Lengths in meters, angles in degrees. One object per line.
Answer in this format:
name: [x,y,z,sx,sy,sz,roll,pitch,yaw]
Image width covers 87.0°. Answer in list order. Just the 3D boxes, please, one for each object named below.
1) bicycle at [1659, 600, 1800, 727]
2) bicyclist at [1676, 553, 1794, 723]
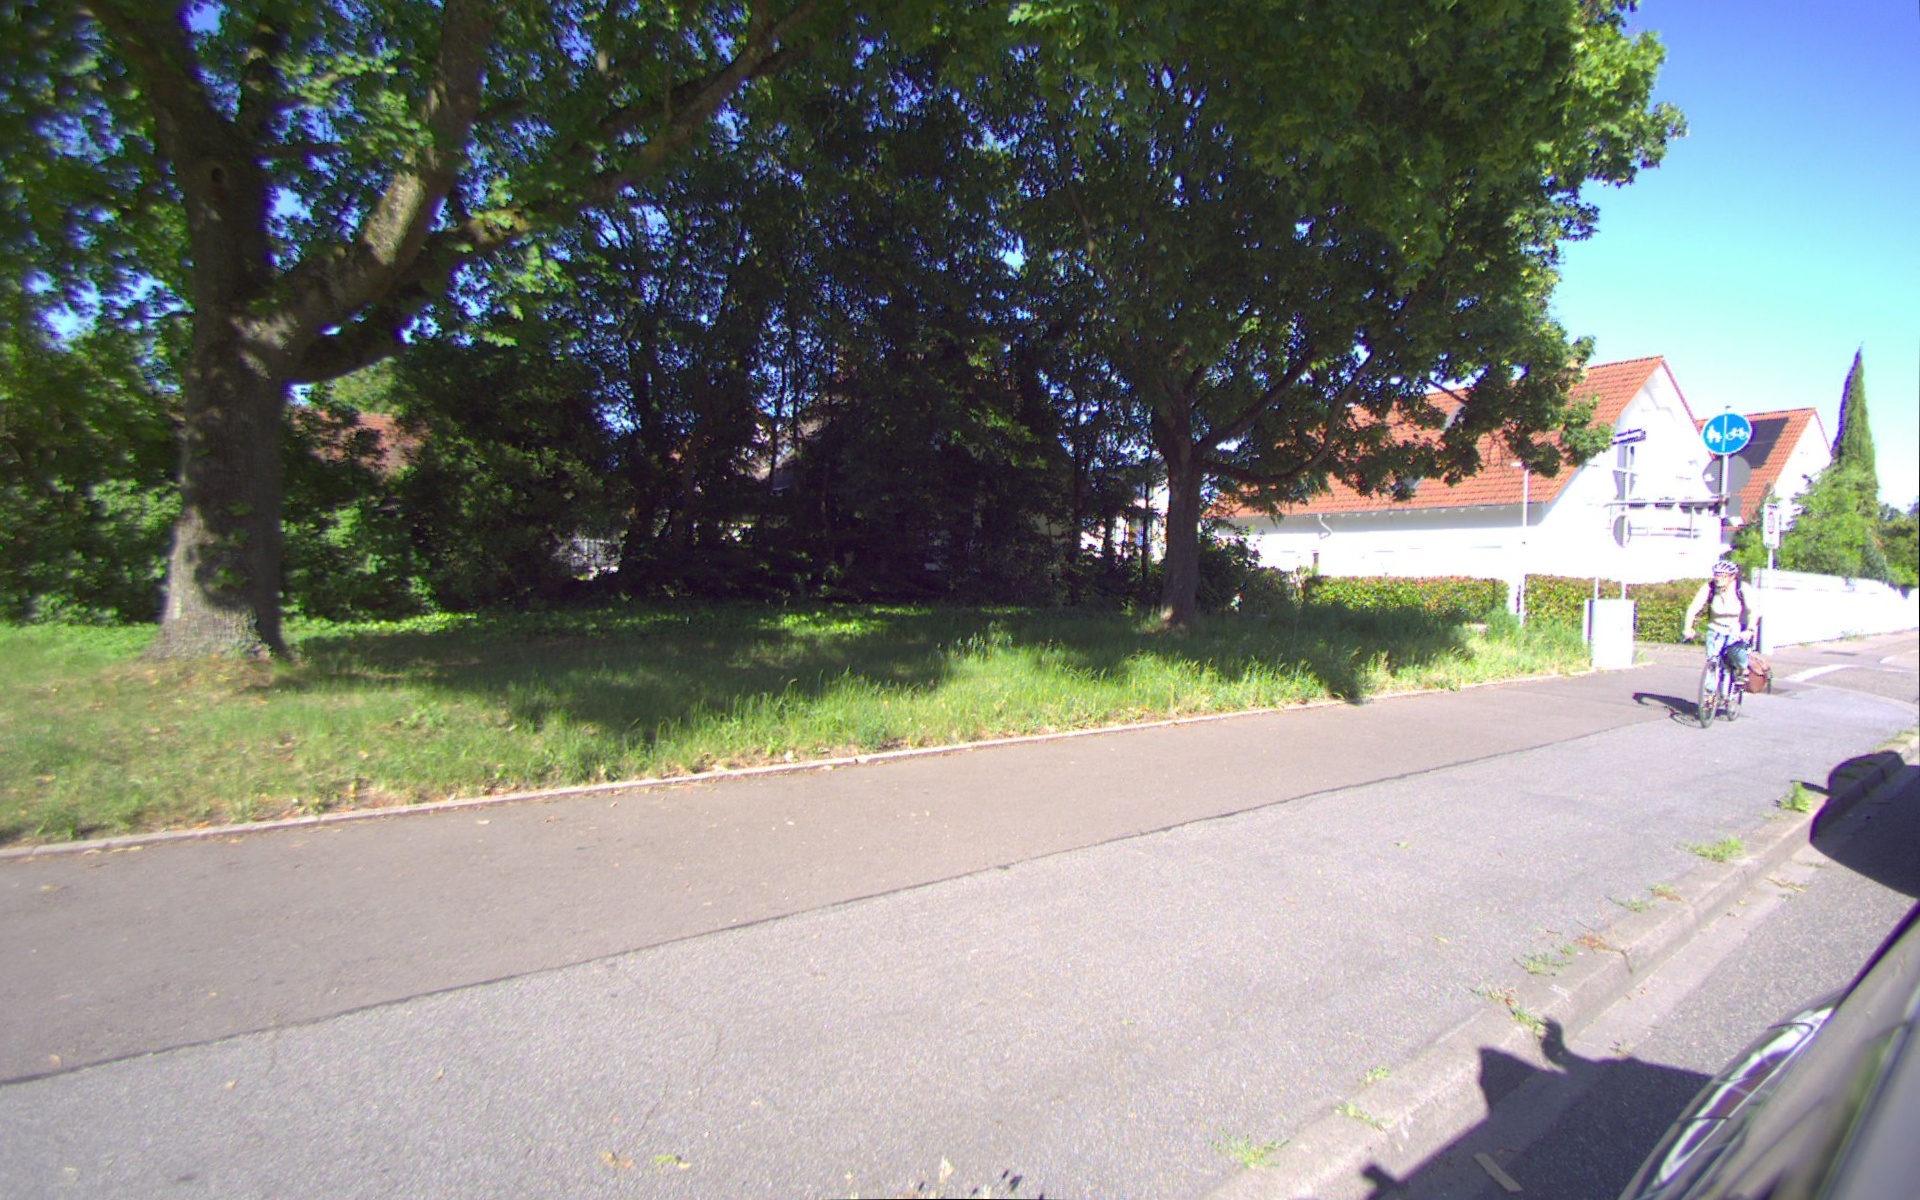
bicycle: [8.012,0.616,10.500,2.101,1.169,0.576,1,4,-38]
bicyclist: [8.066,0.369,10.535,0.964,1.652,0.632,1,4,-38]
